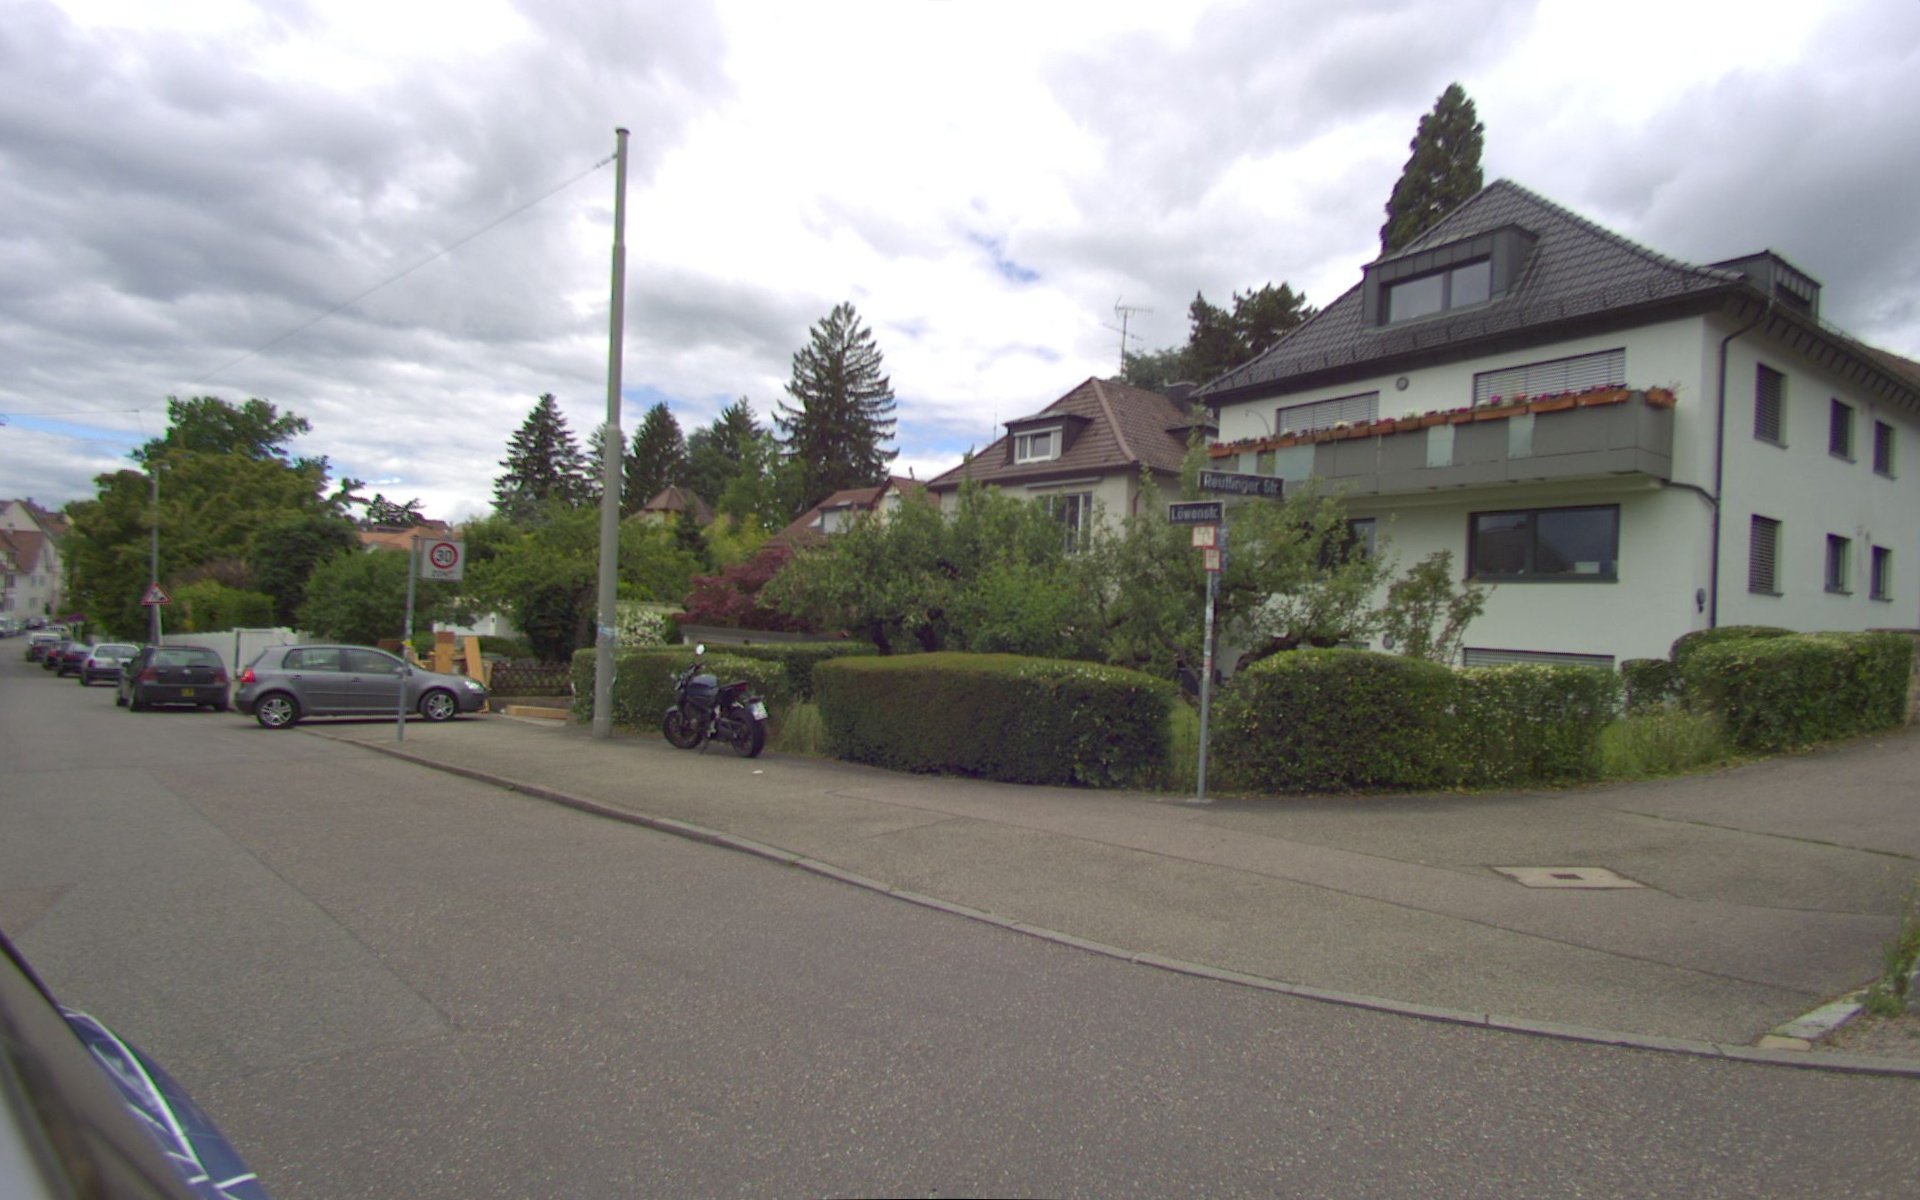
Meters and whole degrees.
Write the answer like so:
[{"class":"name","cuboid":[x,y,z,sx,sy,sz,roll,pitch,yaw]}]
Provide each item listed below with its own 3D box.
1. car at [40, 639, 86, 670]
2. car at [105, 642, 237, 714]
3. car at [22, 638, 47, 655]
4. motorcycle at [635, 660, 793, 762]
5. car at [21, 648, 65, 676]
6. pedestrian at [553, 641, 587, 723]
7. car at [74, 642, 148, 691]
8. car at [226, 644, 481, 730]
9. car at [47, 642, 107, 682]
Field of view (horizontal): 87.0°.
[{"class":"car","cuboid":[-45.550,2.789,51.380,1.516,1.480,3.315,7,-7,-43]},{"class":"car","cuboid":[-17.635,1.717,22.554,3.804,1.455,1.734,-2,-6,44]},{"class":"car","cuboid":[-79.405,3.983,86.784,1.404,1.294,3.315,7,-6,-43]},{"class":"motorcycle","cuboid":[-3.109,1.348,12.687,2.144,1.148,0.765,-2,-4,39]},{"class":"car","cuboid":[-61.203,4.084,67.528,3.703,1.770,1.862,-2,-3,43]},{"class":"pedestrian","cuboid":[-8.841,1.852,22.953,0.635,1.818,0.615,2,-3,-24]},{"class":"car","cuboid":[-28.751,2.229,34.263,1.597,1.480,3.315,7,-6,-43]},{"class":"car","cuboid":[-11.245,1.567,19.093,3.930,1.473,1.743,1,-3,-26]},{"class":"car","cuboid":[-36.184,2.521,41.444,1.597,1.480,3.315,7,-6,-43]}]
